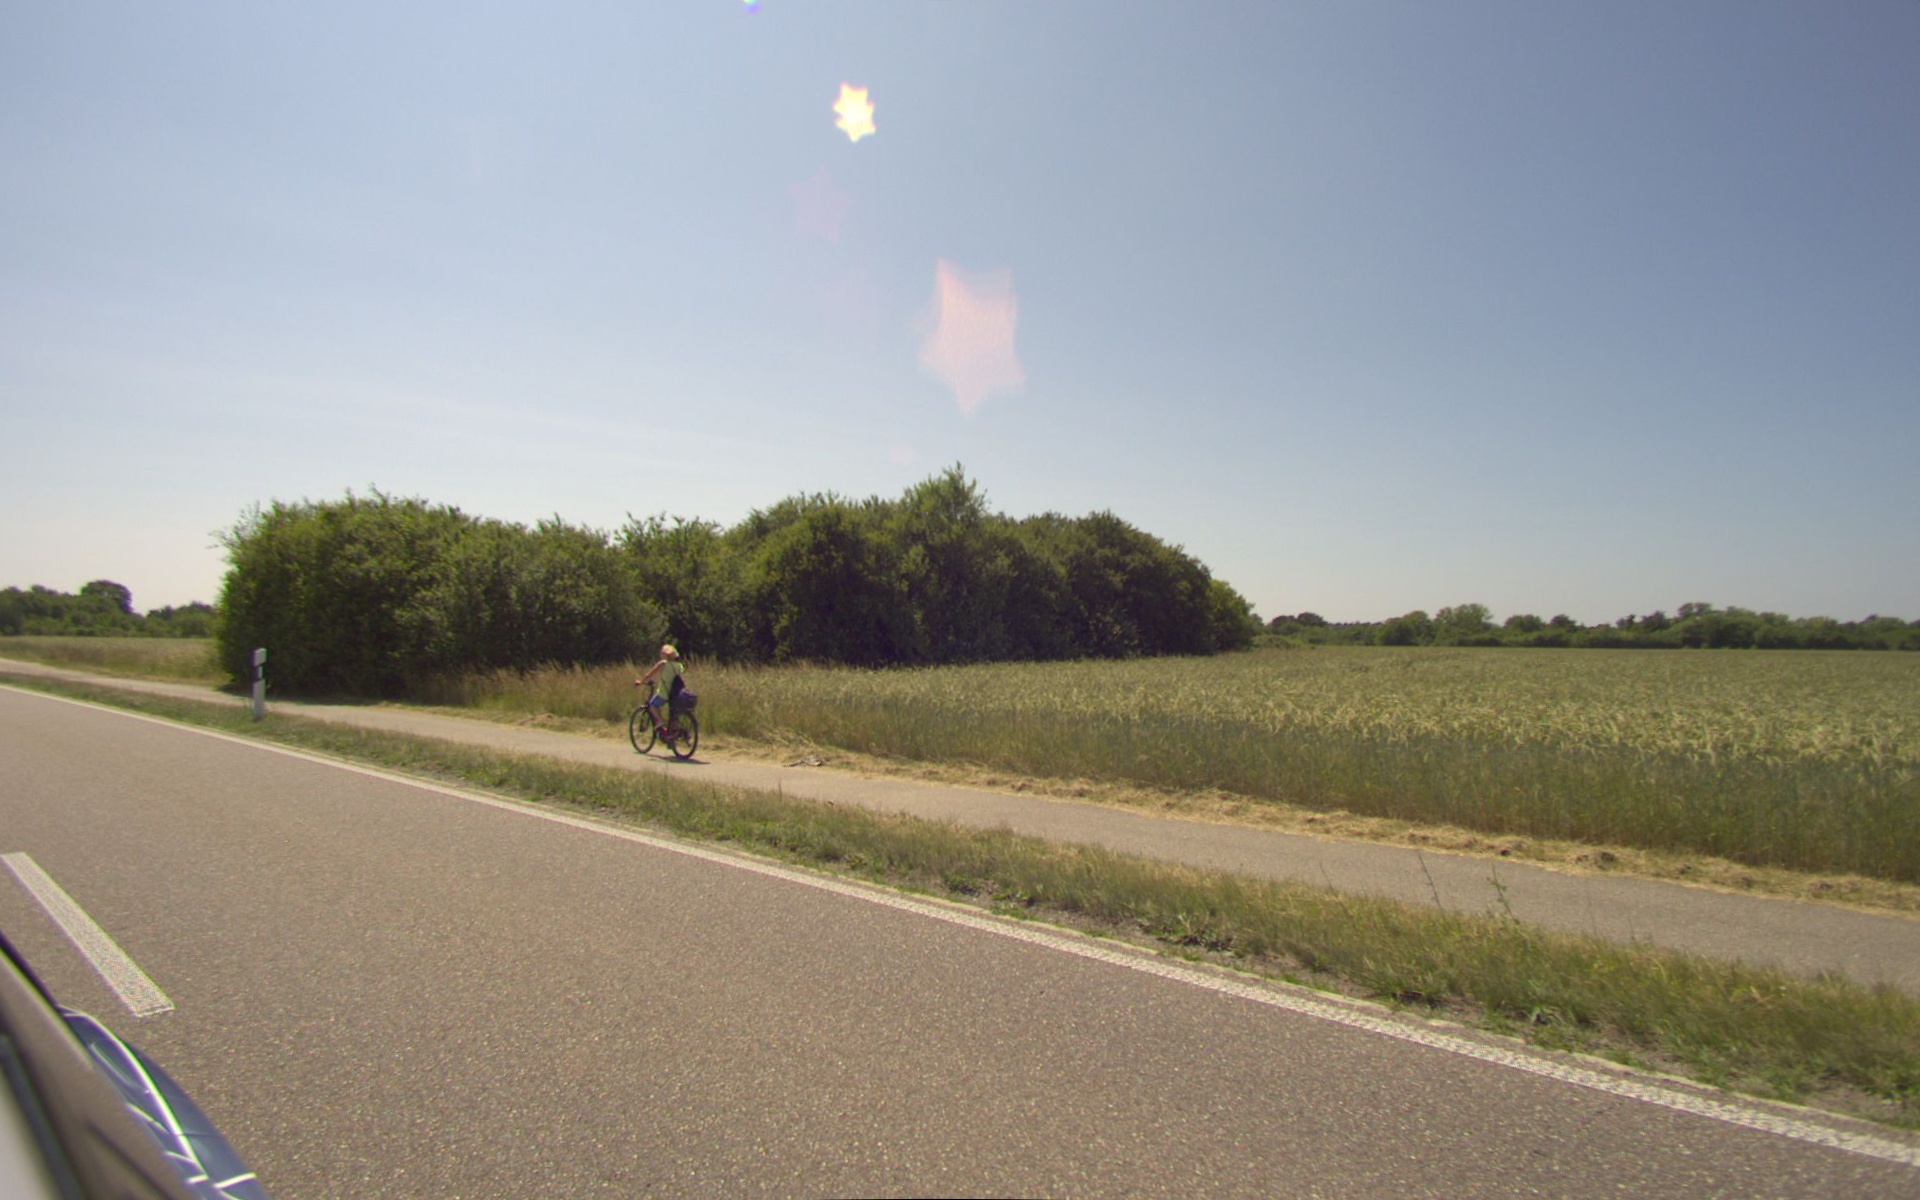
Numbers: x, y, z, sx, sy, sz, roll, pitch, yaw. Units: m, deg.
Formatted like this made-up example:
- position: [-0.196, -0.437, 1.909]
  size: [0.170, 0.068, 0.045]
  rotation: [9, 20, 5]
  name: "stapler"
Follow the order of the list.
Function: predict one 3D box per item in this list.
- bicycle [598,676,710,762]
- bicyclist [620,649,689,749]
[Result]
- position: [-4.719, 1.786, 15.520]
  size: [1.962, 1.185, 0.687]
  rotation: [-2, -4, 41]
  name: "bicycle"
- position: [-4.677, 1.487, 15.487]
  size: [0.822, 1.449, 0.657]
  rotation: [-1, -2, 39]
  name: "bicyclist"
